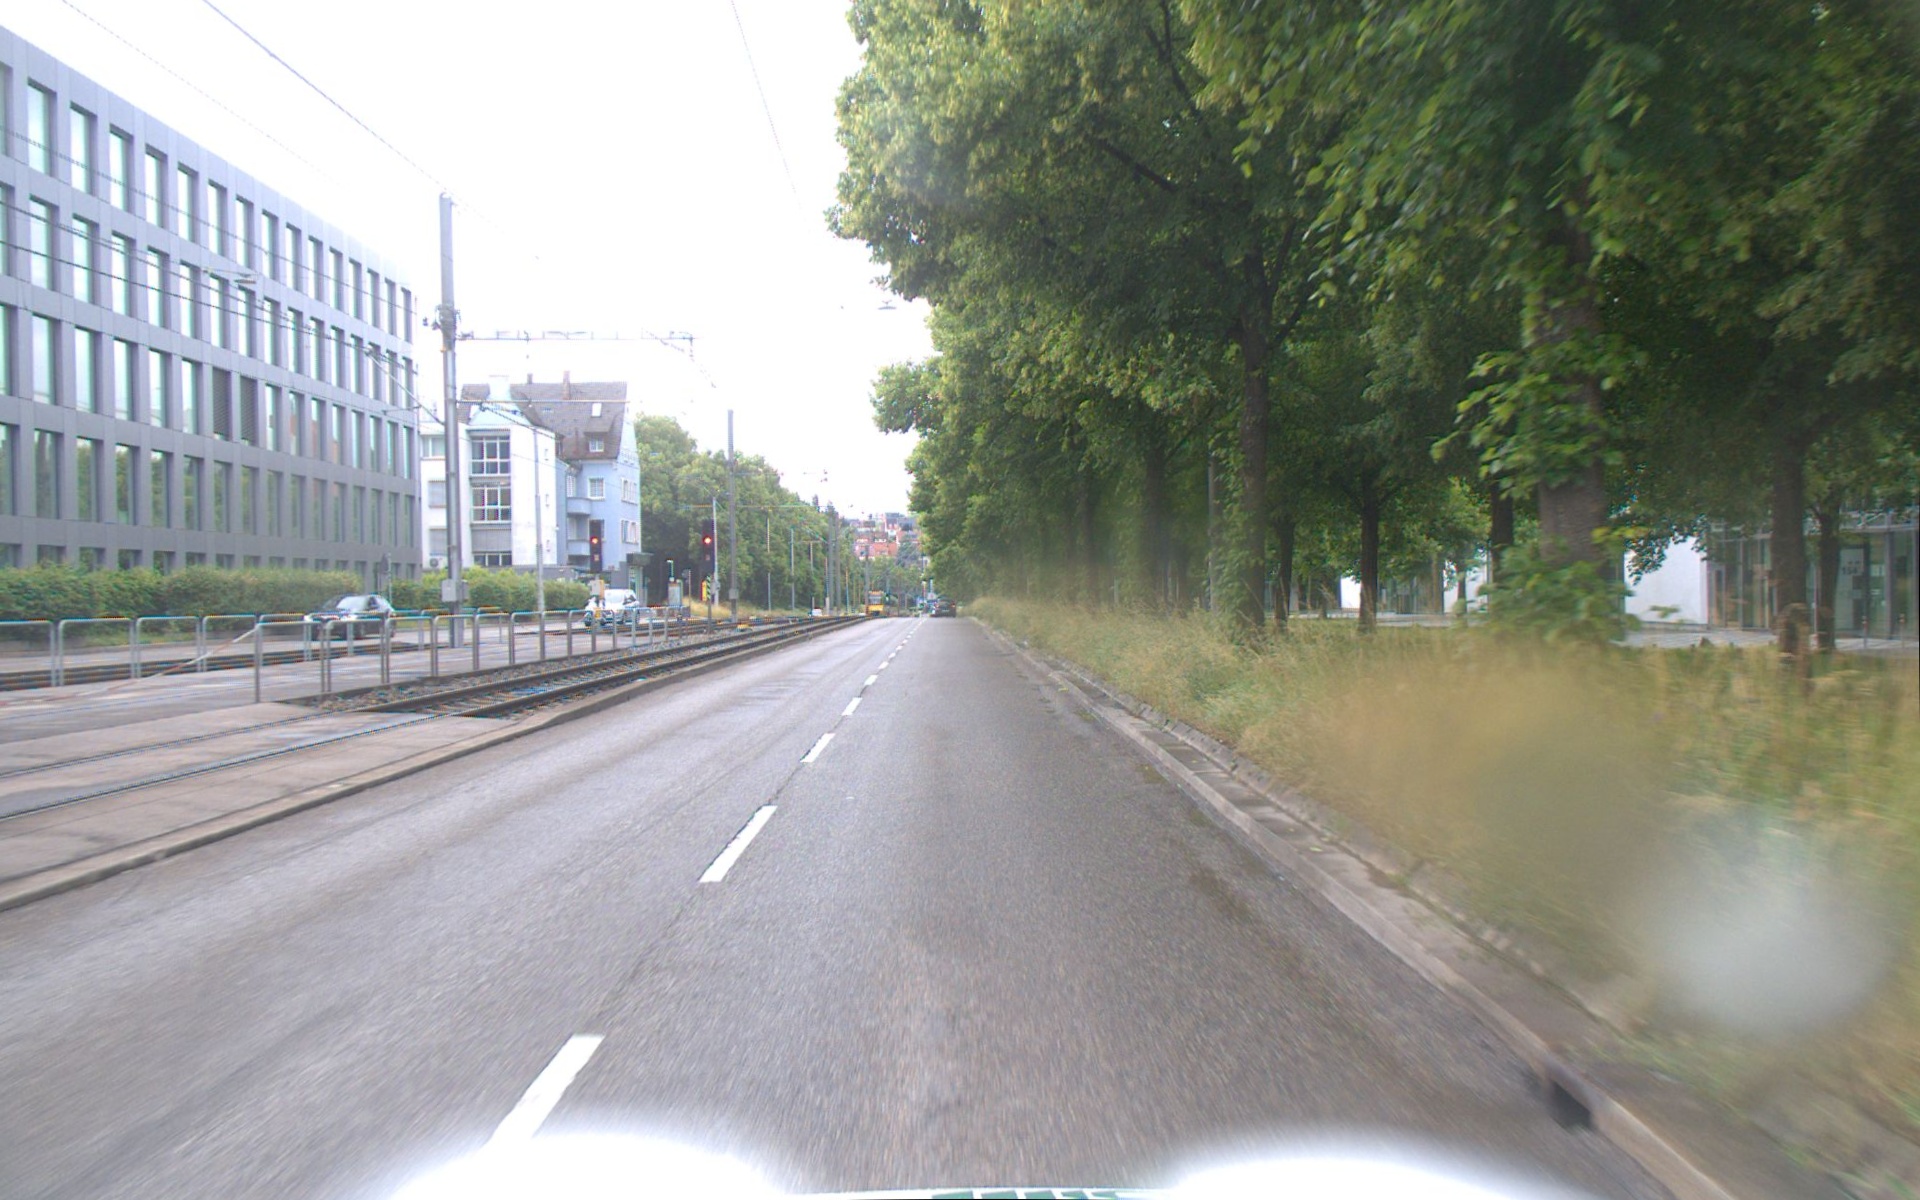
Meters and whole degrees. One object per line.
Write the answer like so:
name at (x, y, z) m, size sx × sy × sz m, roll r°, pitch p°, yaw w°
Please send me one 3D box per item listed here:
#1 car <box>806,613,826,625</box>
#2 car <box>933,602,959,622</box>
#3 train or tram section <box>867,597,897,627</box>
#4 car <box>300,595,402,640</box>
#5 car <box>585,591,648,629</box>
car at (-17.686, 2.324, 203.183) m, size 1.863 × 1.348 × 4.826 m, roll -1°, pitch -1°, yaw 1°
car at (-1.055, 0.917, 128.717) m, size 1.942 × 1.466 × 4.473 m, roll -1°, pitch -1°, yaw 0°
train or tram section at (-10.653, 1.743, 226.304) m, size 3.148 × 3.863 × 14.789 m, roll -1°, pitch -1°, yaw 1°
car at (-19.786, 0.555, 53.920) m, size 1.761 × 1.370 × 4.258 m, roll -1°, pitch -1°, yaw 0°
car at (-16.142, 0.471, 77.973) m, size 1.863 × 1.673 × 4.884 m, roll -1°, pitch -1°, yaw 1°
